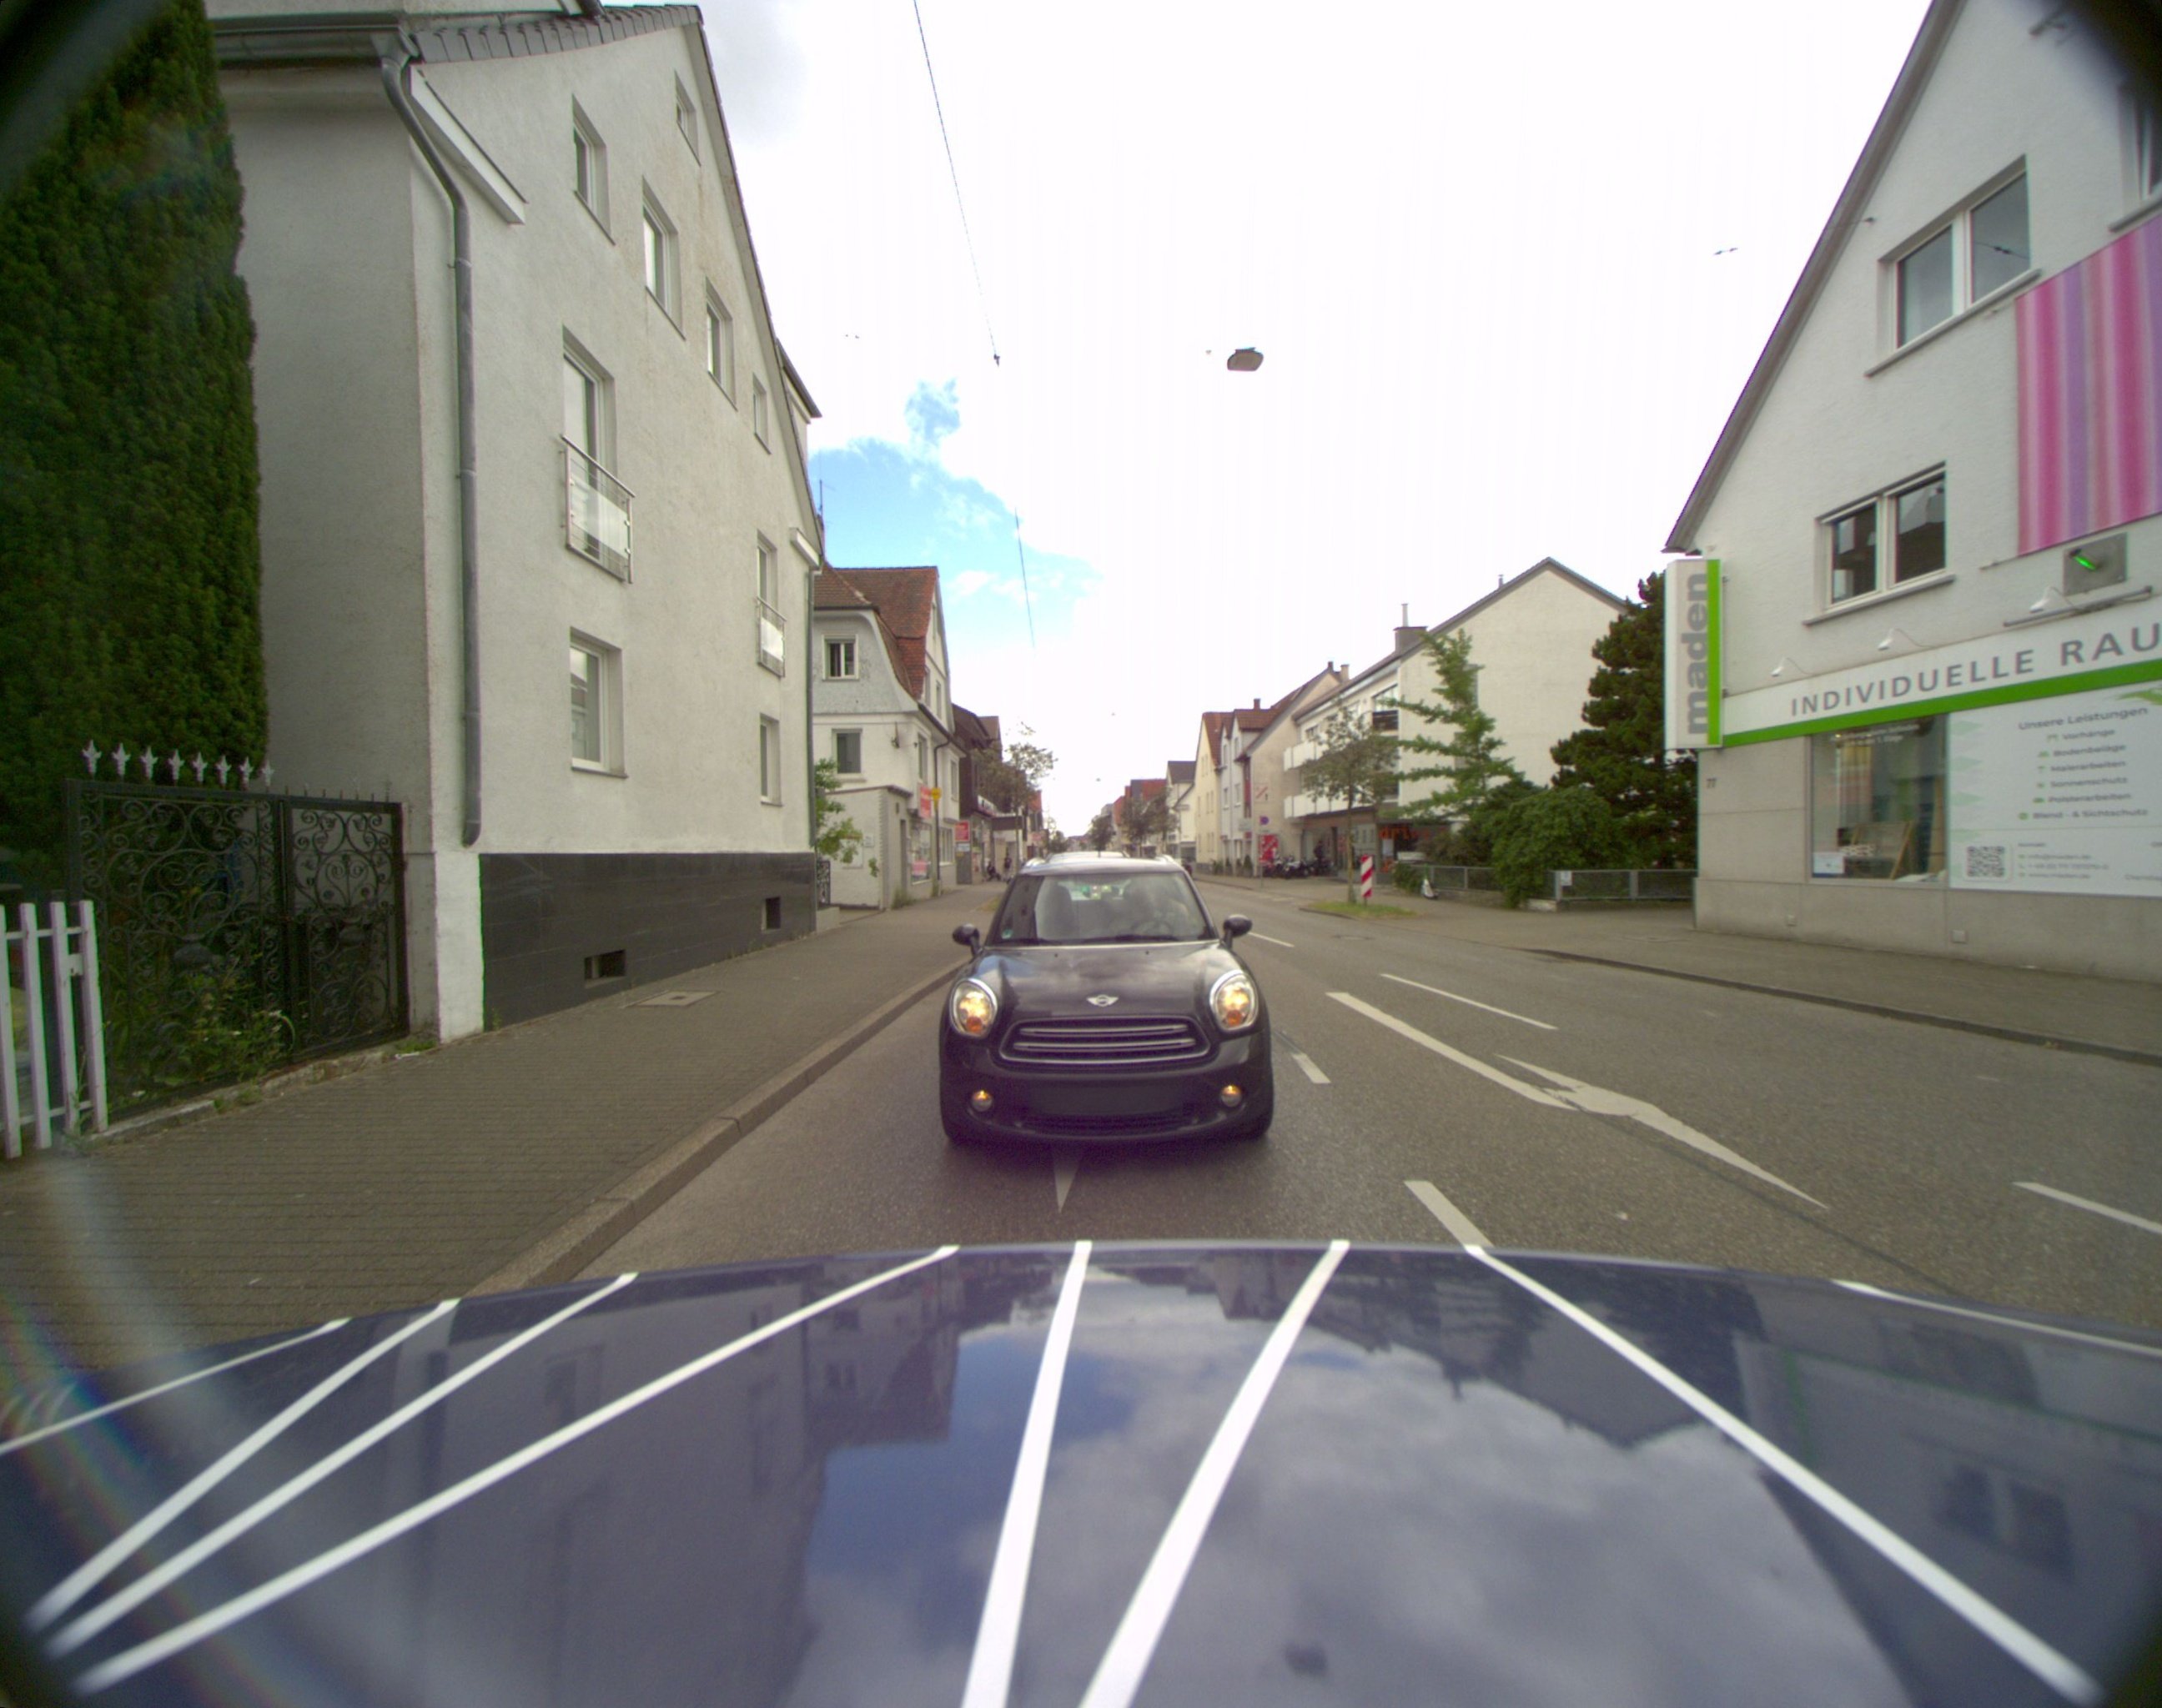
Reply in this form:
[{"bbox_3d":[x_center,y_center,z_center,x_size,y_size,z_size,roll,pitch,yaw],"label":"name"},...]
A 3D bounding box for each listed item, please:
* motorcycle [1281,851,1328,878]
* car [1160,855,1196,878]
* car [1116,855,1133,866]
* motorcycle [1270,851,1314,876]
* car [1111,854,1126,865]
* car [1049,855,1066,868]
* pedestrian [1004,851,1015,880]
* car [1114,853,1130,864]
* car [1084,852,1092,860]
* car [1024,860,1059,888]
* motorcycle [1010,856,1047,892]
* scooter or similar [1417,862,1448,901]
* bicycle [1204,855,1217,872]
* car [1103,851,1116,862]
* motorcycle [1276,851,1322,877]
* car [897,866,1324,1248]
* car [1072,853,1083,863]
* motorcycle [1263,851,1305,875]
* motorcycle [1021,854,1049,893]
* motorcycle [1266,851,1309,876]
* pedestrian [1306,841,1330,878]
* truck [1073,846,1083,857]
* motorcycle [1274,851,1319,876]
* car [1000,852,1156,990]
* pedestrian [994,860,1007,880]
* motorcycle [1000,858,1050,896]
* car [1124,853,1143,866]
[{"bbox_3d":[11.745,0.543,39.984,2.231,1.258,0.613,-4,1,-2],"label":"motorcycle"},{"bbox_3d":[6.451,0.807,51.133,1.792,1.409,4.340,0,0,-1],"label":"car"},{"bbox_3d":[5.566,0.826,97.165,1.716,1.389,3.899,-2,0,-2],"label":"car"},{"bbox_3d":[11.763,0.521,42.381,2.231,1.258,0.699,-4,1,-2],"label":"motorcycle"},{"bbox_3d":[5.278,0.798,107.797,1.716,1.389,3.899,-2,0,-2],"label":"car"},{"bbox_3d":[-2.606,0.846,85.521,1.794,1.356,3.948,1,0,0],"label":"car"},{"bbox_3d":[-4.323,0.697,46.051,0.644,1.730,0.742,0,1,-6],"label":"pedestrian"},{"bbox_3d":[5.486,0.611,102.151,1.716,1.389,3.899,-2,0,-2],"label":"car"},{"bbox_3d":[1.862,0.433,193.147,1.855,1.932,4.489,1,0,-2],"label":"car"},{"bbox_3d":[-2.182,1.100,43.227,1.830,1.400,4.564,-2,0,-1],"label":"car"},{"bbox_3d":[-2.245,0.844,32.931,0.648,1.432,2.472,-2,1,19],"label":"motorcycle"},{"bbox_3d":[10.373,0.794,22.437,0.340,1.105,1.180,-2,1,0],"label":"scooter or similar"},{"bbox_3d":[9.424,0.692,55.477,0.515,1.189,2.023,-2,1,-1],"label":"bicycle"},{"bbox_3d":[4.581,0.357,122.336,1.999,1.772,3.999,-2,0,0],"label":"car"},{"bbox_3d":[11.695,0.527,40.845,2.231,1.258,0.613,-4,1,-2],"label":"motorcycle"},{"bbox_3d":[0.059,0.929,5.733,1.855,1.527,4.735,-2,0,-2],"label":"car"},{"bbox_3d":[-0.777,0.798,151.215,2.059,2.002,4.186,-2,0,-1],"label":"car"},{"bbox_3d":[11.716,0.507,43.928,2.231,1.258,0.613,-4,1,-2],"label":"motorcycle"},{"bbox_3d":[-1.890,0.786,31.763,0.672,1.516,2.599,-2,1,6],"label":"motorcycle"},{"bbox_3d":[11.694,0.513,43.095,2.231,1.258,0.613,-4,1,-2],"label":"motorcycle"},{"bbox_3d":[12.081,0.267,38.794,0.753,1.838,1.019,-5,1,0],"label":"pedestrian"},{"bbox_3d":[-0.876,-0.616,219.282,2.800,3.020,8.250,-2,0,0],"label":"truck"},{"bbox_3d":[11.809,0.518,41.681,2.231,1.258,0.613,-4,1,-2],"label":"motorcycle"},{"bbox_3d":[-0.015,0.814,11.641,1.855,1.615,4.736,-2,0,0],"label":"car"},{"bbox_3d":[-4.940,1.003,46.829,0.742,1.204,0.644,0,1,-1],"label":"pedestrian"},{"bbox_3d":[-2.176,0.878,29.326,0.777,1.373,2.237,-2,1,-37],"label":"motorcycle"},{"bbox_3d":[5.987,0.575,86.458,1.716,1.389,3.899,-2,0,-2],"label":"car"}]
